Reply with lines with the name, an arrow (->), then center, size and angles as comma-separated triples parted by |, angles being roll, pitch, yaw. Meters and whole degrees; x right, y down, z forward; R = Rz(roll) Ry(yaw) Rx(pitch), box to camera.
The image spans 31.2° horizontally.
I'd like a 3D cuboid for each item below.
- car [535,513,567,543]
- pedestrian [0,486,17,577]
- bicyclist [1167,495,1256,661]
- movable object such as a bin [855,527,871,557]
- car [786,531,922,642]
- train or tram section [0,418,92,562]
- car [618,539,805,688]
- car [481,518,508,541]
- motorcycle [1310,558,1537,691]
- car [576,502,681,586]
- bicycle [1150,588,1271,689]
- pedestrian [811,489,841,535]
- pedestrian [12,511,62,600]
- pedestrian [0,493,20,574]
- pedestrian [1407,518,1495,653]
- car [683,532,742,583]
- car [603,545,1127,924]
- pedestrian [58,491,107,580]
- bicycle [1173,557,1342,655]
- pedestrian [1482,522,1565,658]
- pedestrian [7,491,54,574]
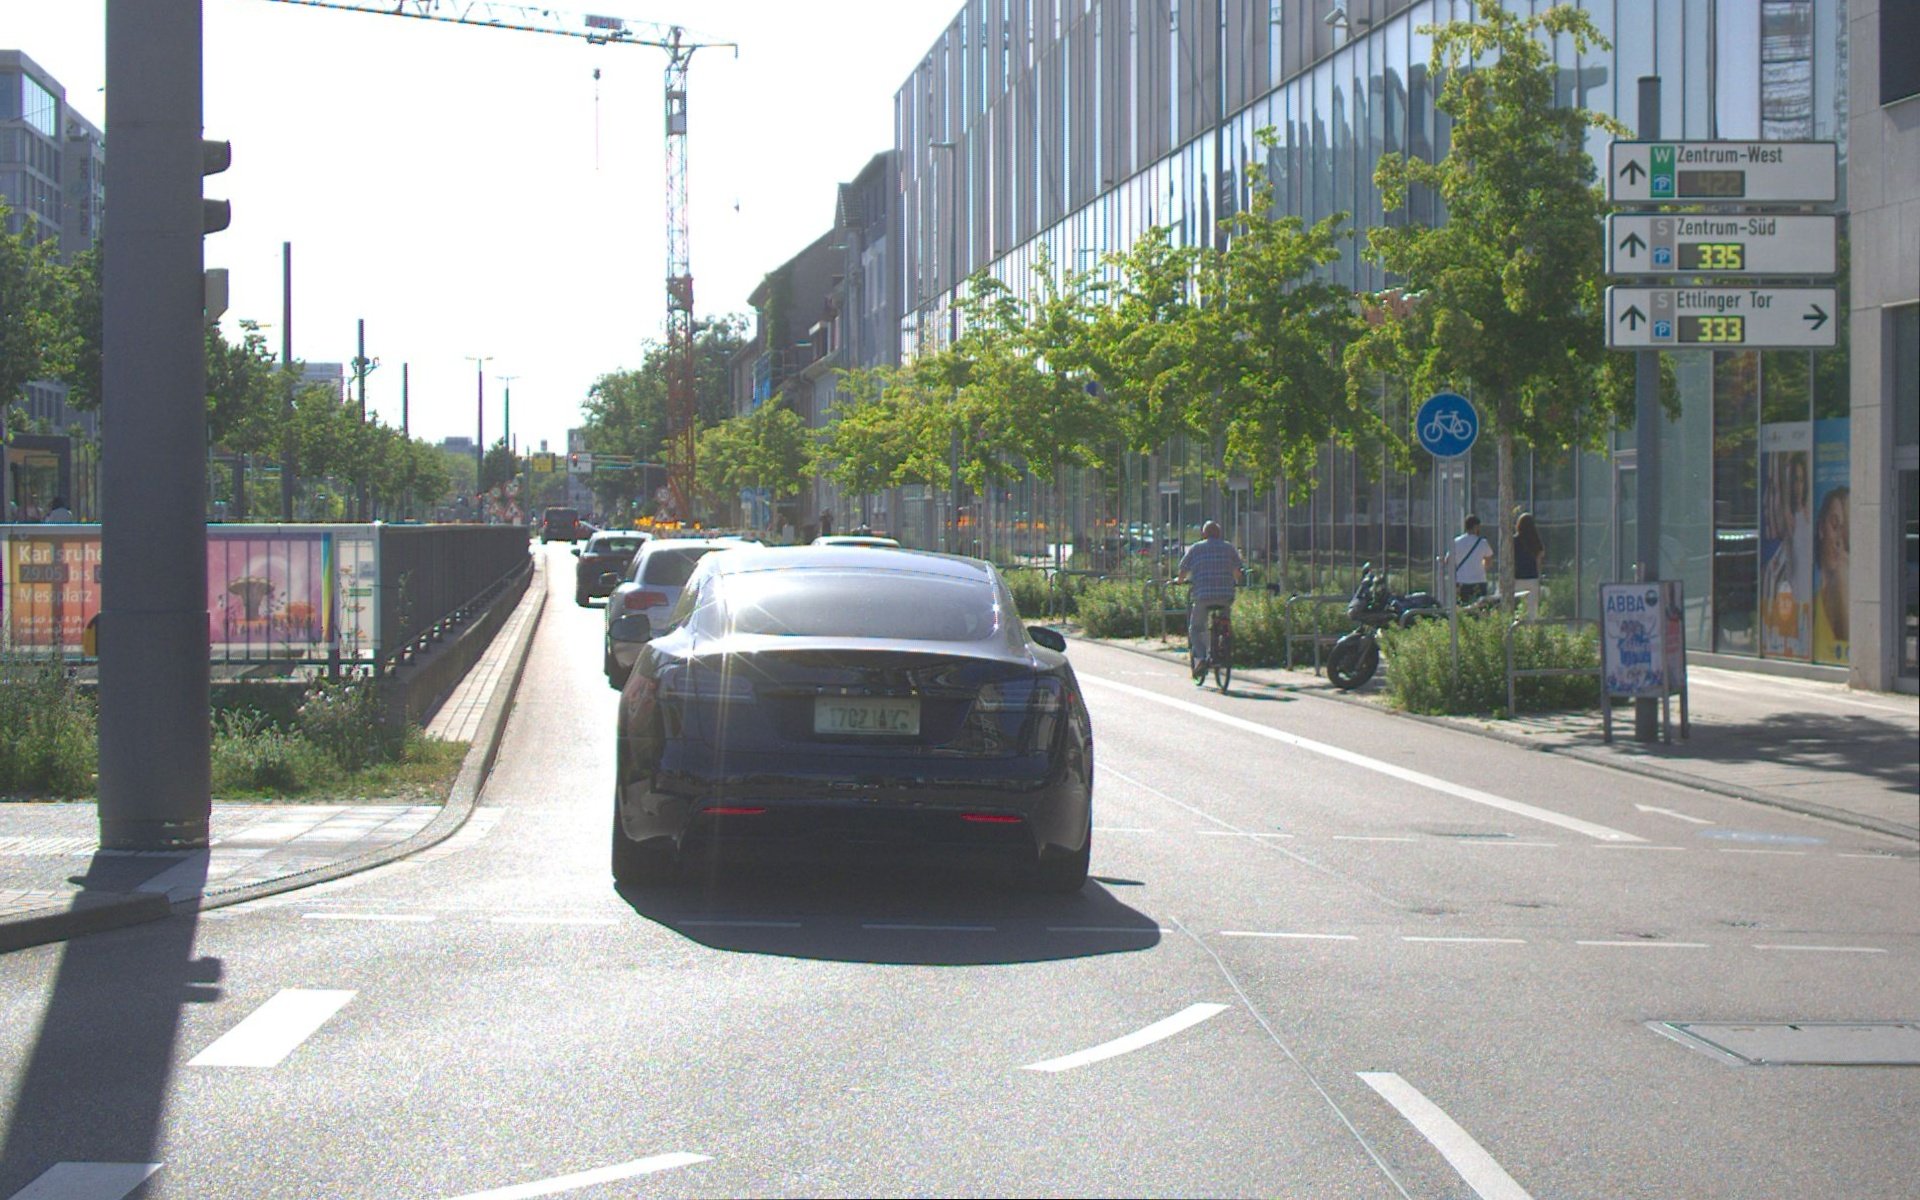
car -> -25.106, -4.441, 211.025 | 1.813, 1.803, 4.040 | 1, 2, -5
pedestrian -> -17.401, -1.224, 61.745 | 0.741, 1.623, 0.862 | 0, 1, -5
bicyclist -> 2.660, -0.238, 36.416 | 0.724, 1.731, 0.998 | 0, 1, -10
movable object such as a bin -> -3.816, -2.283, 135.306 | 0.558, 1.165, 0.562 | 2, 1, -2
car -> -1.626, -0.233, 51.363 | 1.784, 1.540, 4.040 | 1, 2, -5
train or tram section -> -23.606, -2.628, 81.322 | 2.870, 3.268, 22.149 | 2, 1, -6
car -> -2.496, 0.094, 33.886 | 1.716, 1.315, 4.001 | 1, 2, -5
car -> -34.713, -5.238, 256.419 | 1.993, 1.678, 4.001 | 2, 1, -7
motorcycle -> 4.791, 0.248, 35.632 | 2.189, 1.319, 0.903 | -1, 1, -2
car -> -6.432, -1.113, 66.984 | 1.888, 1.590, 4.001 | 0, 2, -3
bicycle -> 2.639, 0.392, 36.438 | 0.728, 0.980, 2.334 | 0, 1, -10
pedestrian -> -5.368, -3.530, 137.635 | 1.095, 1.857, 1.523 | 0, 2, -7
pedestrian -> -16.941, -0.821, 63.086 | 0.741, 1.623, 0.862 | 0, 1, -5
pedestrian -> -19.356, -1.343, 69.091 | 0.741, 1.623, 0.862 | 0, 1, -5
pedestrian -> 6.102, -0.192, 42.725 | 0.820, 1.652, 0.900 | 0, 1, -10
car -> -8.090, -1.402, 112.486 | 1.888, 1.590, 4.001 | 0, 2, -3
car -> -0.527, 0.495, 15.511 | 1.999, 1.429, 4.413 | 1, 1, -4
pedestrian -> -16.095, -1.179, 63.084 | 0.741, 1.623, 0.862 | 0, 1, -5
bicycle -> 3.830, 0.071, 44.379 | 2.085, 1.201, 0.950 | -1, 1, 0
pedestrian -> 6.977, -0.133, 42.593 | 0.706, 1.652, 0.900 | -2, 1, -10
pedestrian -> -18.379, -1.328, 68.011 | 0.741, 1.623, 0.947 | 0, 1, -5
